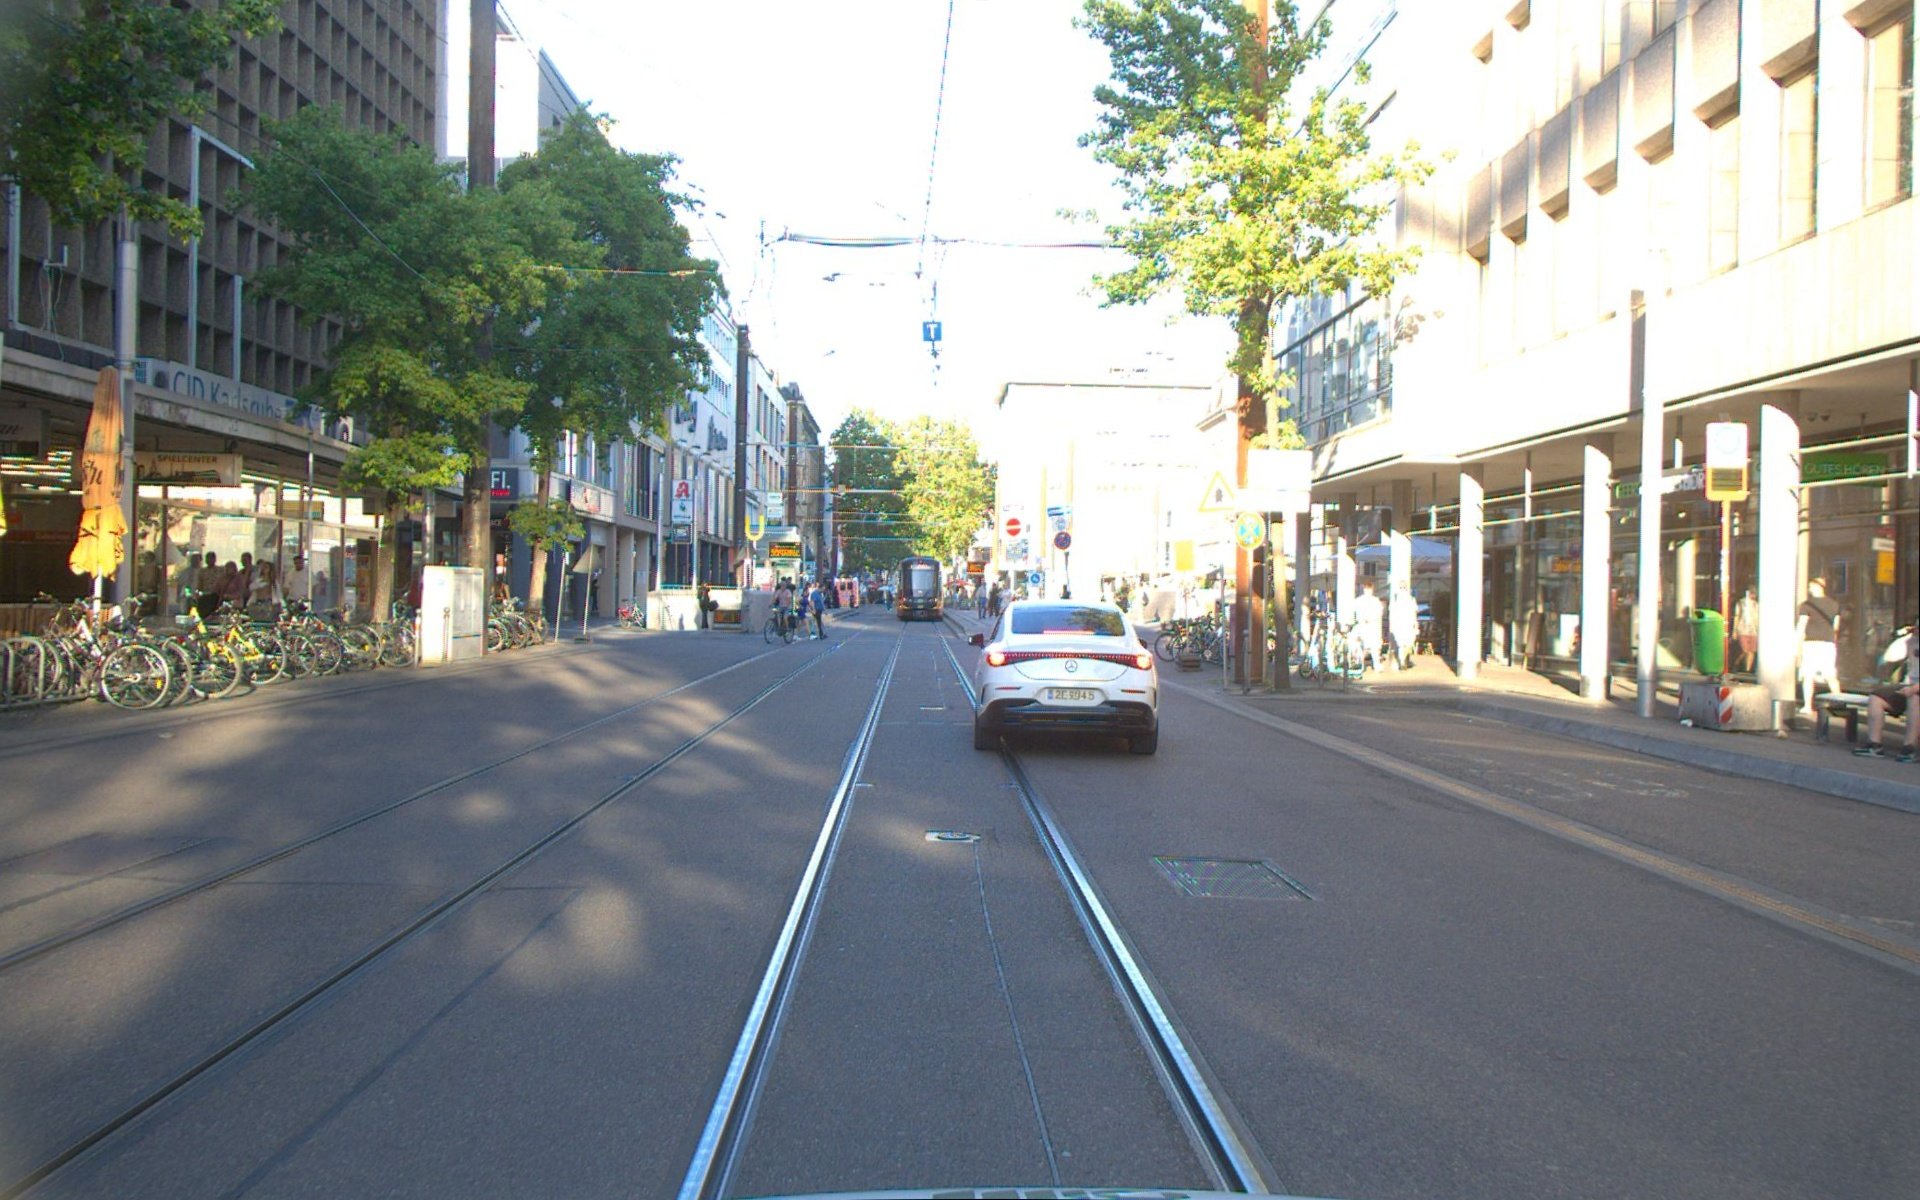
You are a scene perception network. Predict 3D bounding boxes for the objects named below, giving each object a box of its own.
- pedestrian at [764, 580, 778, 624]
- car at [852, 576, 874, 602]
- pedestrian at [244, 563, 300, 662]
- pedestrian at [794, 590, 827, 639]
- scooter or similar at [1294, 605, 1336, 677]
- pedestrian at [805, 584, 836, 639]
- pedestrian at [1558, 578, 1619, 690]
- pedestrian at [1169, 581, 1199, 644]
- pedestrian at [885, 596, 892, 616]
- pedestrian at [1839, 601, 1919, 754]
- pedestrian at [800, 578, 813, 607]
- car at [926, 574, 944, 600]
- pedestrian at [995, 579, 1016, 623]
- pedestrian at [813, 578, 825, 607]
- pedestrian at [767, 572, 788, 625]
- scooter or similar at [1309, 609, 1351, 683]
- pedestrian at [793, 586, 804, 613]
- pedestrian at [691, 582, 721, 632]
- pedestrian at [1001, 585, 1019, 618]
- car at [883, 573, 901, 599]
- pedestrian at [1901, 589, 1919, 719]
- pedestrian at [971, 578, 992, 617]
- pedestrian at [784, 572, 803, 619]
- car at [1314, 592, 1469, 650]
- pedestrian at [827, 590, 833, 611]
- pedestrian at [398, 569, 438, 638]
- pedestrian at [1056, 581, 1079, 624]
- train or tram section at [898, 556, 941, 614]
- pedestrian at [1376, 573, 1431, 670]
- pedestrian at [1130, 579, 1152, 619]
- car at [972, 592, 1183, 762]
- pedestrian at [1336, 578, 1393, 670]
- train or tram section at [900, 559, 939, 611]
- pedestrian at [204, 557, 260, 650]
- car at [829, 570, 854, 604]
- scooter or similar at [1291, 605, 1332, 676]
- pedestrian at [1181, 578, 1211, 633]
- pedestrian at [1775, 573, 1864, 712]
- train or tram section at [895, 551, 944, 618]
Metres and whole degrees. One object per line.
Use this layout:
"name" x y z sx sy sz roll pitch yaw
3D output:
"pedestrian" -7.106 0.056 62.254 0.521 1.641 0.540 1 0 -7
"car" -9.632 -1.076 164.696 1.871 2.504 5.274 1 0 -1
"pedestrian" -11.748 0.203 28.262 0.700 1.668 0.683 1 0 -8
"pedestrian" -4.689 0.443 51.975 0.936 1.522 0.944 1 0 -1
"scooter or similar" 6.524 0.741 30.426 0.518 1.299 0.658 -1 0 -13
"pedestrian" -4.452 0.349 52.838 0.886 1.728 0.848 1 0 -1
"pedestrian" 9.666 0.509 25.456 0.624 1.682 0.781 1 0 0
"pedestrian" 6.542 0.362 48.338 0.733 1.816 0.766 -1 0 -2
"pedestrian" -5.959 0.462 137.655 0.592 1.658 0.531 1 0 -1
"pedestrian" 9.044 0.724 15.810 0.822 1.401 0.772 1 0 -24
"pedestrian" -8.531 -0.431 91.992 0.647 1.627 0.573 1 0 -3
"car" -2.976 -1.551 197.262 2.056 2.948 5.284 1 0 -1
"pedestrian" 1.810 0.054 65.782 0.731 1.728 0.840 1 0 -4
"pedestrian" -7.846 -0.417 92.089 0.647 1.627 0.573 1 0 -3
"pedestrian" -6.790 -0.063 61.597 0.531 1.962 0.569 1 0 42
"scooter or similar" 6.670 0.817 29.813 0.483 1.299 0.658 -1 0 -13
"pedestrian" -9.879 -0.023 101.166 0.647 1.627 0.573 1 0 -3
"pedestrian" -8.863 0.236 57.628 0.827 1.747 0.778 1 0 -26
"pedestrian" 2.804 0.096 92.352 0.941 1.816 0.803 -1 0 -2
"car" -8.059 -1.657 196.793 2.056 2.948 5.274 1 0 -1
"pedestrian" 11.959 0.662 20.048 0.629 1.568 0.796 1 0 -1
"pedestrian" 1.028 -0.111 79.018 0.941 1.816 0.803 -1 0 -2
"pedestrian" -6.447 -0.181 64.101 0.538 1.791 0.520 1 0 27
"car" 11.629 0.547 44.680 3.729 1.499 1.647 1 0 -7
"pedestrian" -10.369 0.013 131.562 0.405 1.658 0.606 1 0 -1
"pedestrian" -14.184 0.085 43.320 0.800 1.792 0.779 1 0 -4
"pedestrian" 4.268 0.112 65.677 0.820 1.691 0.785 1 0 1
"train or tram section" -2.653 -0.966 108.199 2.640 3.578 12.541 1 0 -1
"pedestrian" 8.711 0.408 32.511 0.687 1.844 1.033 -3 0 -2
"pedestrian" 7.902 -0.041 72.172 0.801 1.714 0.803 -1 0 -2
"car" 1.086 0.695 17.160 1.819 1.480 4.174 2 0 -1
"pedestrian" 8.020 0.471 32.814 0.881 1.775 0.689 -3 0 -2
"train or tram section" -2.942 -1.044 120.033 2.640 3.578 11.140 1 0 -1
"pedestrian" -12.451 0.055 28.313 0.700 1.574 0.683 1 0 -8
"car" -10.431 -1.151 145.827 1.953 2.948 5.274 1 0 -1
"scooter or similar" 6.604 0.749 31.093 0.518 1.299 0.658 -1 0 -13
"pedestrian" 7.871 0.169 55.196 0.824 1.816 0.803 -1 0 -2
"pedestrian" 11.156 0.539 21.489 0.701 1.771 0.835 1 0 -1
"train or tram section" -2.353 -0.878 95.652 2.640 3.578 12.541 1 0 -1
